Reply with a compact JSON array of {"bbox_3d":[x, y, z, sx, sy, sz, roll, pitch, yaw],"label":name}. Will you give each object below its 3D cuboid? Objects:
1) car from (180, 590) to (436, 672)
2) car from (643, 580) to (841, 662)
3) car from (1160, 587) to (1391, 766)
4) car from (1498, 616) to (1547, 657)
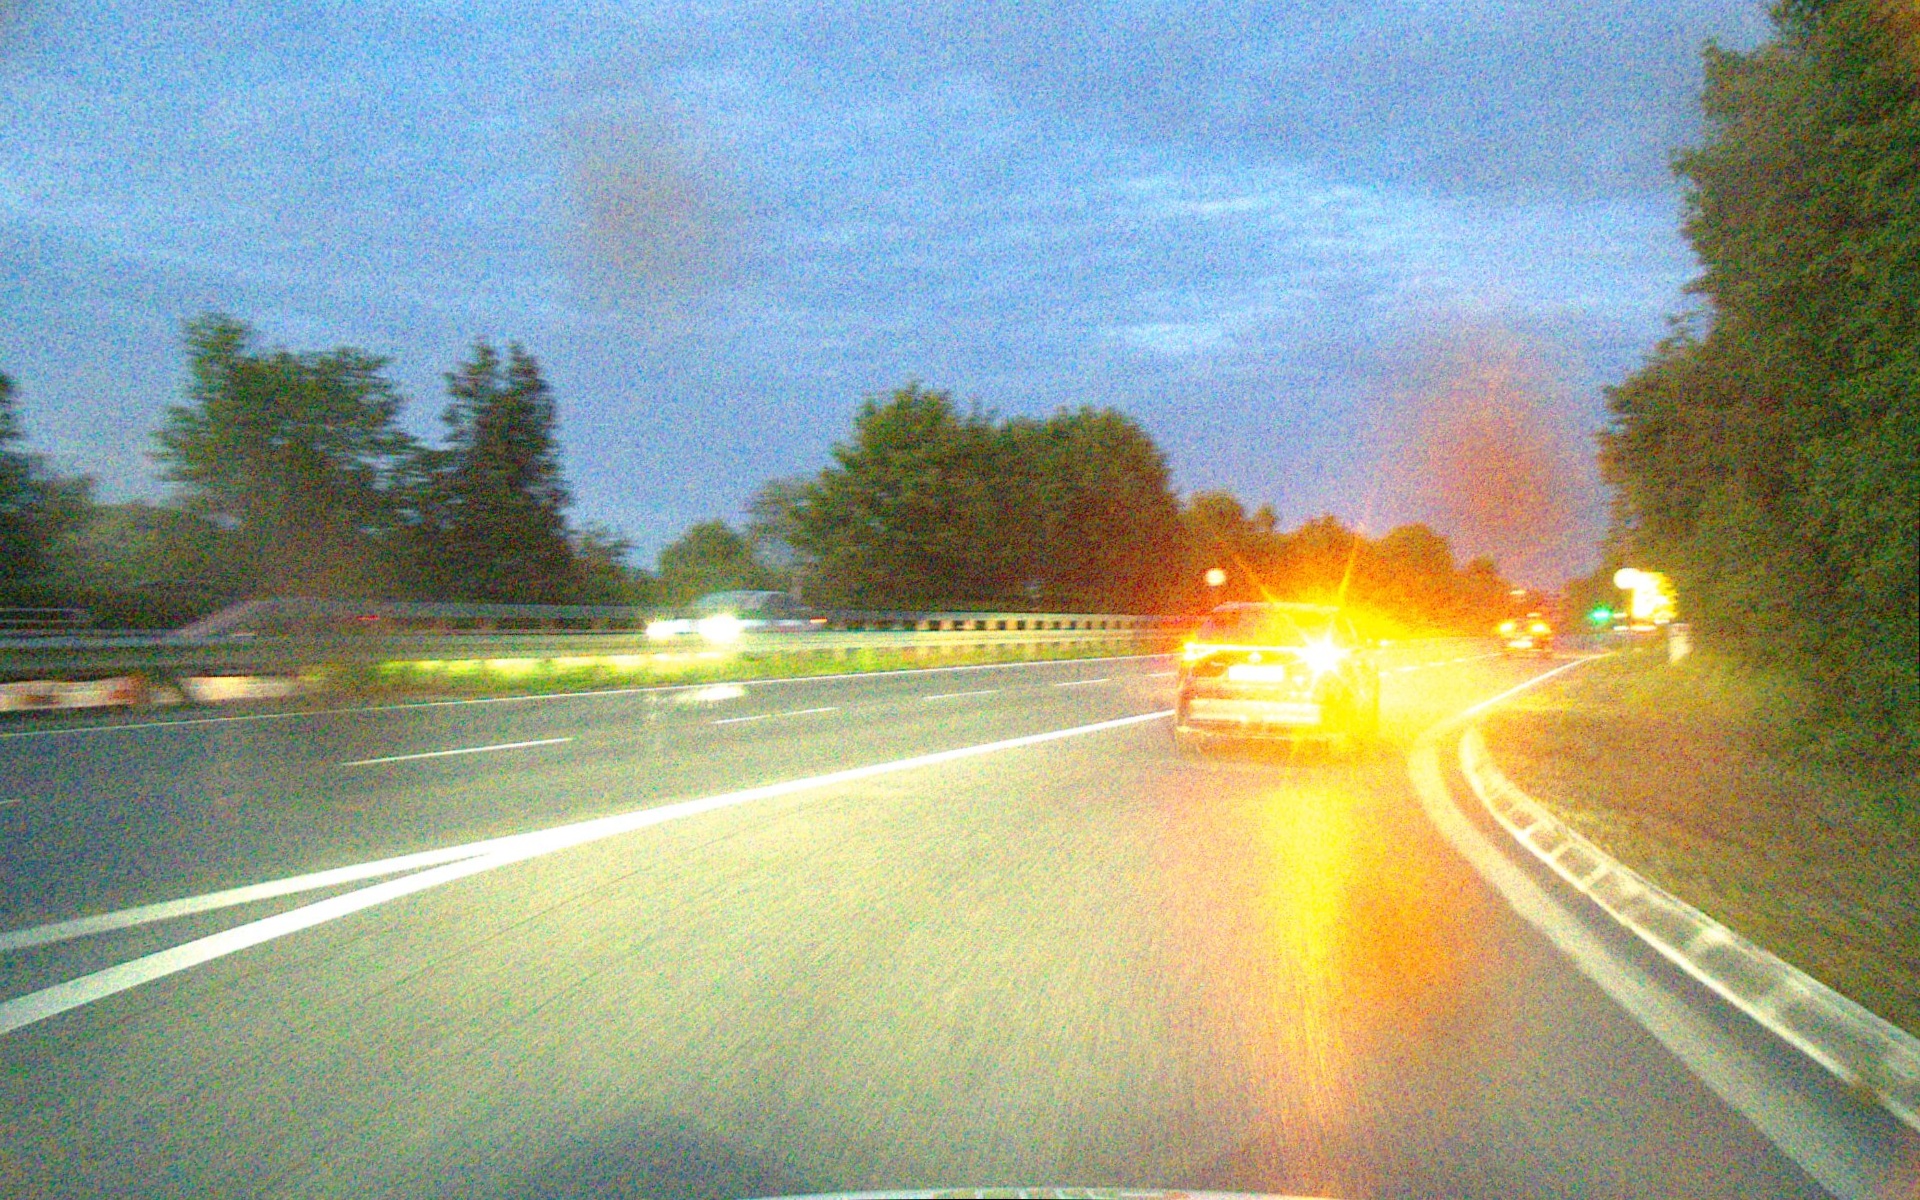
[{"bbox_3d":[-12.612,0.580,32.344,1.953,1.478,4.734,0,-1,22],"label":"car"},{"bbox_3d":[-4.447,0.439,34.544,1.953,1.597,4.821,0,-1,23],"label":"car"},{"bbox_3d":[3.629,0.753,18.328,1.861,1.648,4.558,2,0,19],"label":"car"},{"bbox_3d":[21.540,1.361,63.416,1.716,1.478,4.434,1,0,18],"label":"car"}]
